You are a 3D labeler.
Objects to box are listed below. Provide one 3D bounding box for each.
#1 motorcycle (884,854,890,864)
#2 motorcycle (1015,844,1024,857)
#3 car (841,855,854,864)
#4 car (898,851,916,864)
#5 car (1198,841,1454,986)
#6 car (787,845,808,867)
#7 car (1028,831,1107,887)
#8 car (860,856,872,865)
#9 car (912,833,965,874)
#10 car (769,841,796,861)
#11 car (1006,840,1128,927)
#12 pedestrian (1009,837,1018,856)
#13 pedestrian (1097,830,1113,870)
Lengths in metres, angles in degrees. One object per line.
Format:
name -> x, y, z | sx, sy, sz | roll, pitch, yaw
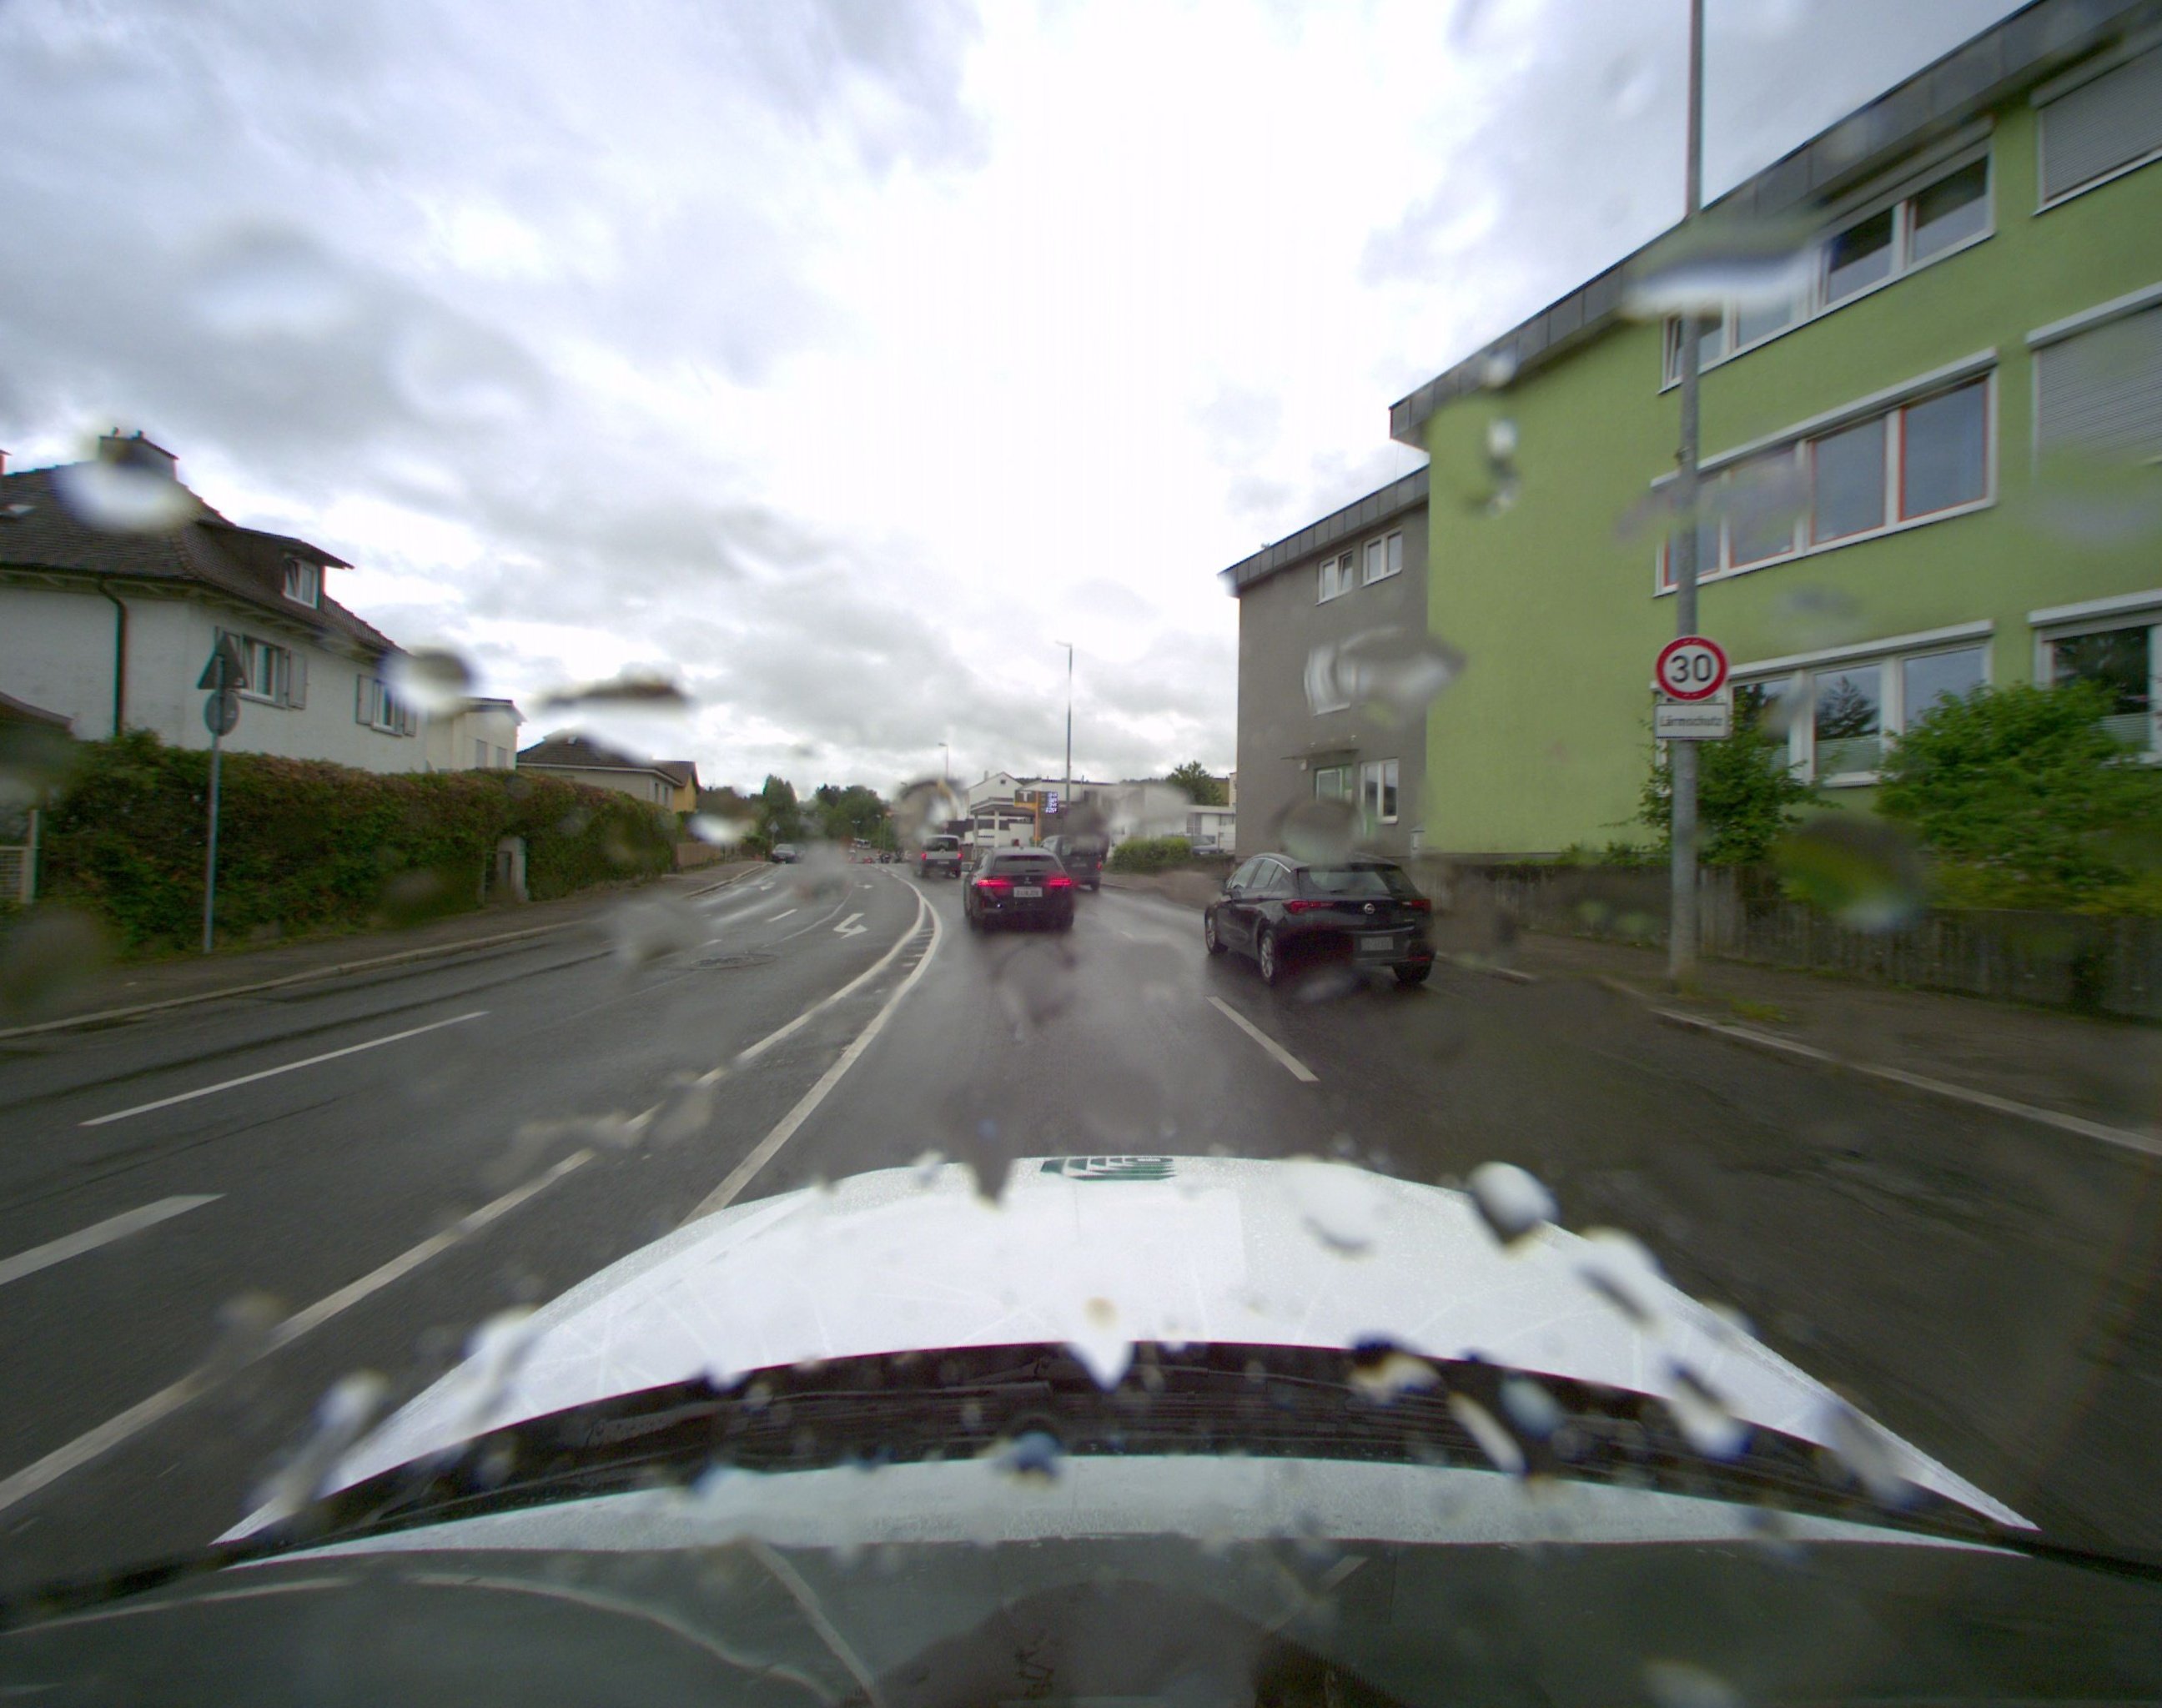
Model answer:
motorcycle -> -31.838, 0.853, 133.631 | 0.705, 1.509, 2.137 | -2, -1, -17
motorcycle -> -5.163, -0.311, 68.735 | 0.463, 1.055, 1.382 | 1, -1, -18
car -> -43.830, 1.045, 152.880 | 1.996, 1.741, 3.981 | 1, -1, -14
car -> -21.404, 0.438, 100.112 | 1.705, 1.510, 4.506 | 1, -1, -18
car -> 2.764, 0.600, 10.172 | 1.753, 1.449, 3.994 | 1, 0, -4
car -> -27.965, 0.250, 80.218 | 1.919, 2.003, 5.053 | 1, -1, -20
car -> -0.537, 0.195, 28.104 | 1.841, 1.767, 3.980 | 1, -1, -15
car -> -43.681, 1.332, 165.582 | 2.000, 1.741, 3.972 | 1, -1, -20
car -> -6.467, 0.015, 36.628 | 1.997, 1.738, 3.979 | 1, -1, -15
car -> -23.481, -0.228, 64.103 | 1.754, 1.440, 4.105 | 1, -1, -17
car -> -0.410, 0.556, 15.948 | 1.991, 1.484, 3.990 | 1, -1, -7
pedestrian -> -5.707, -0.627, 68.830 | 0.611, 1.656, 0.582 | 1, -2, -18
pedestrian -> 1.236, -0.180, 41.716 | 0.715, 2.014, 0.613 | 1, -2, -9
